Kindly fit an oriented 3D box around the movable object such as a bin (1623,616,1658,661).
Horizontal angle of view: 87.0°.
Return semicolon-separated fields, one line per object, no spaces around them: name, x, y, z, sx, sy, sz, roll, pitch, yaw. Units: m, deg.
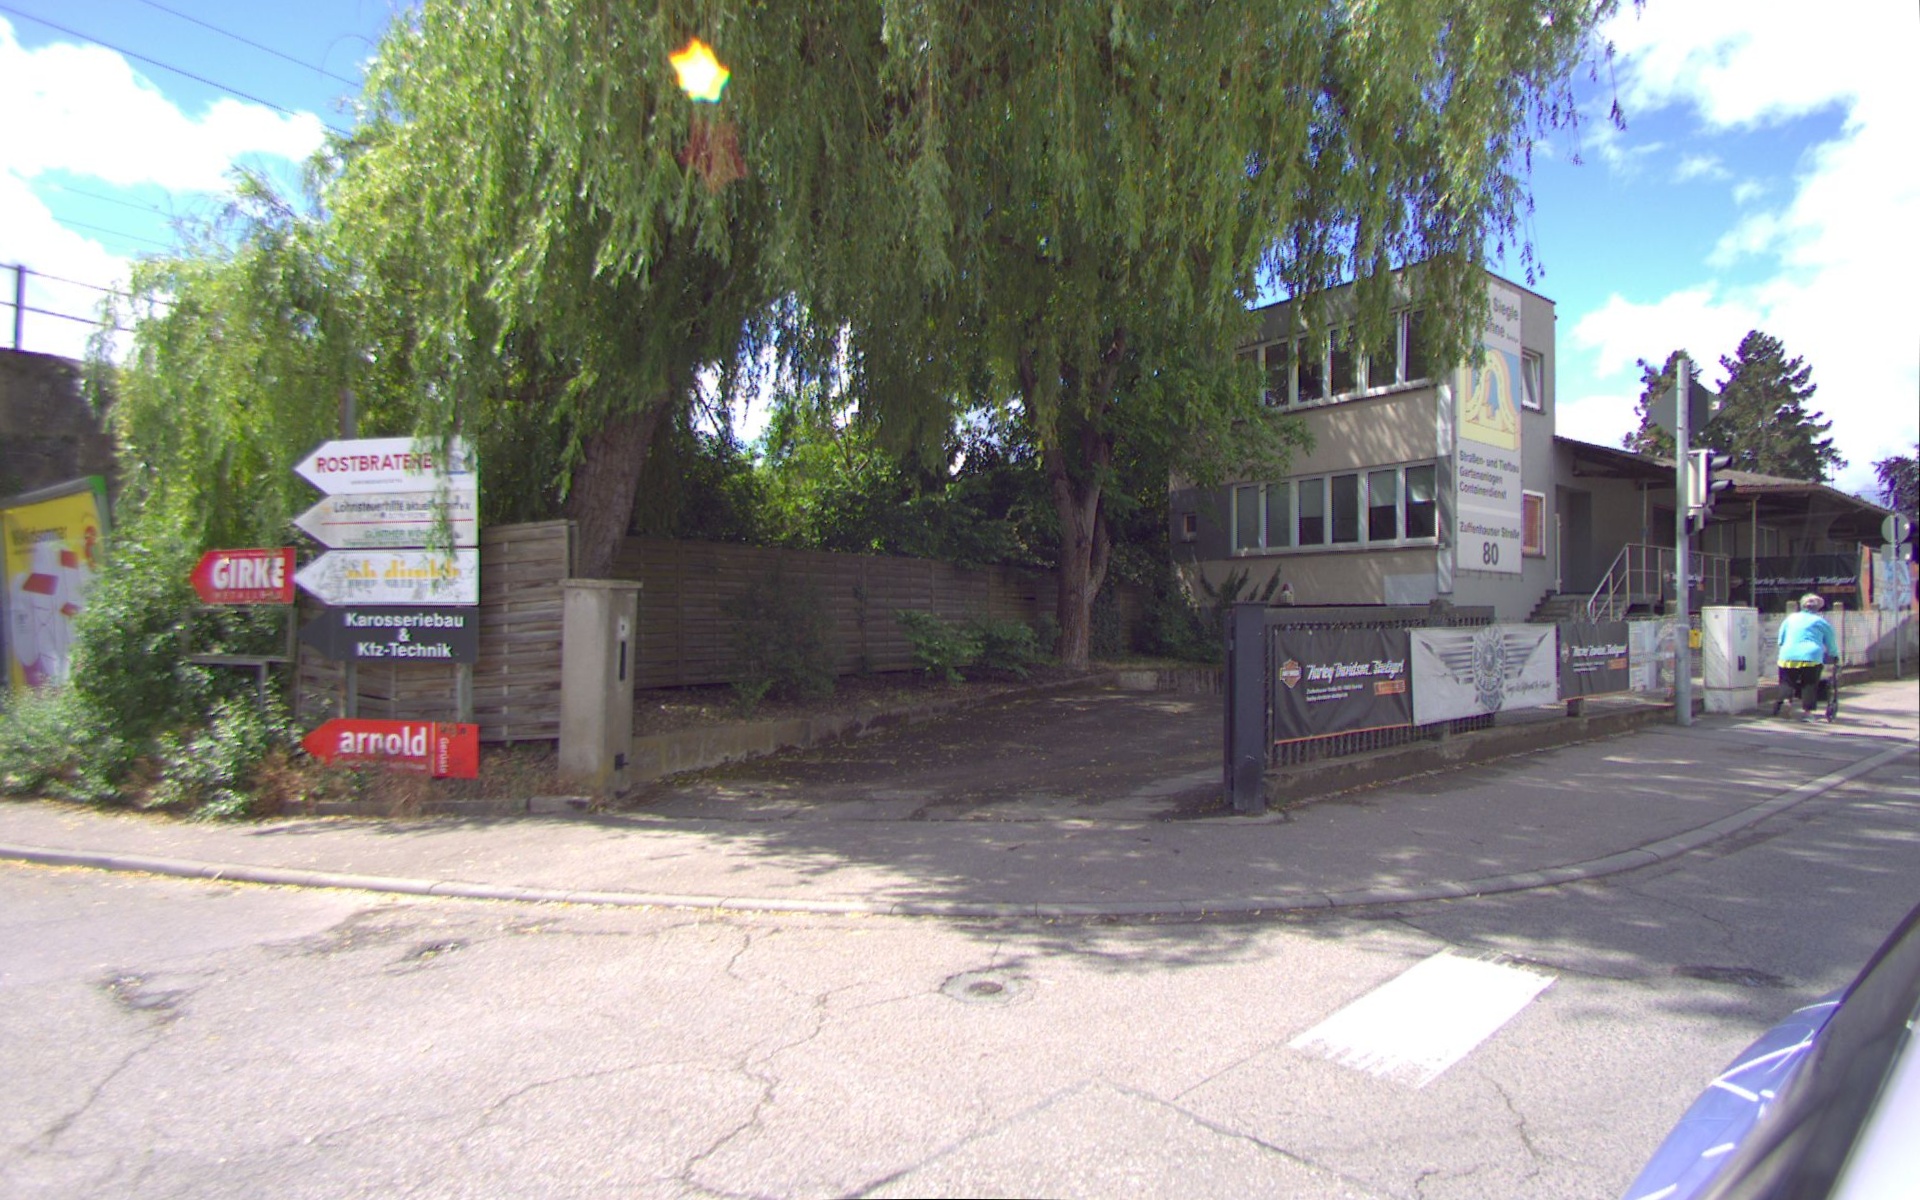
movable object such as a bin;14.602;0.826;21.707;0.466;0.942;0.482;0;-1;-38

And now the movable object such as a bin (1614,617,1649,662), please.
movable object such as a bin;14.195;0.828;21.386;0.466;0.942;0.482;0;-1;-38

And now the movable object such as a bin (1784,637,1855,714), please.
movable object such as a bin;11.022;0.951;12.983;0.668;0.882;0.737;2;1;41

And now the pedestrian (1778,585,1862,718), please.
pedestrian;10.648;0.606;12.547;0.731;1.562;0.829;2;1;41

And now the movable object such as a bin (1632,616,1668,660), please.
movable object such as a bin;15.053;0.825;22.066;0.573;0.942;0.482;0;-1;-38
